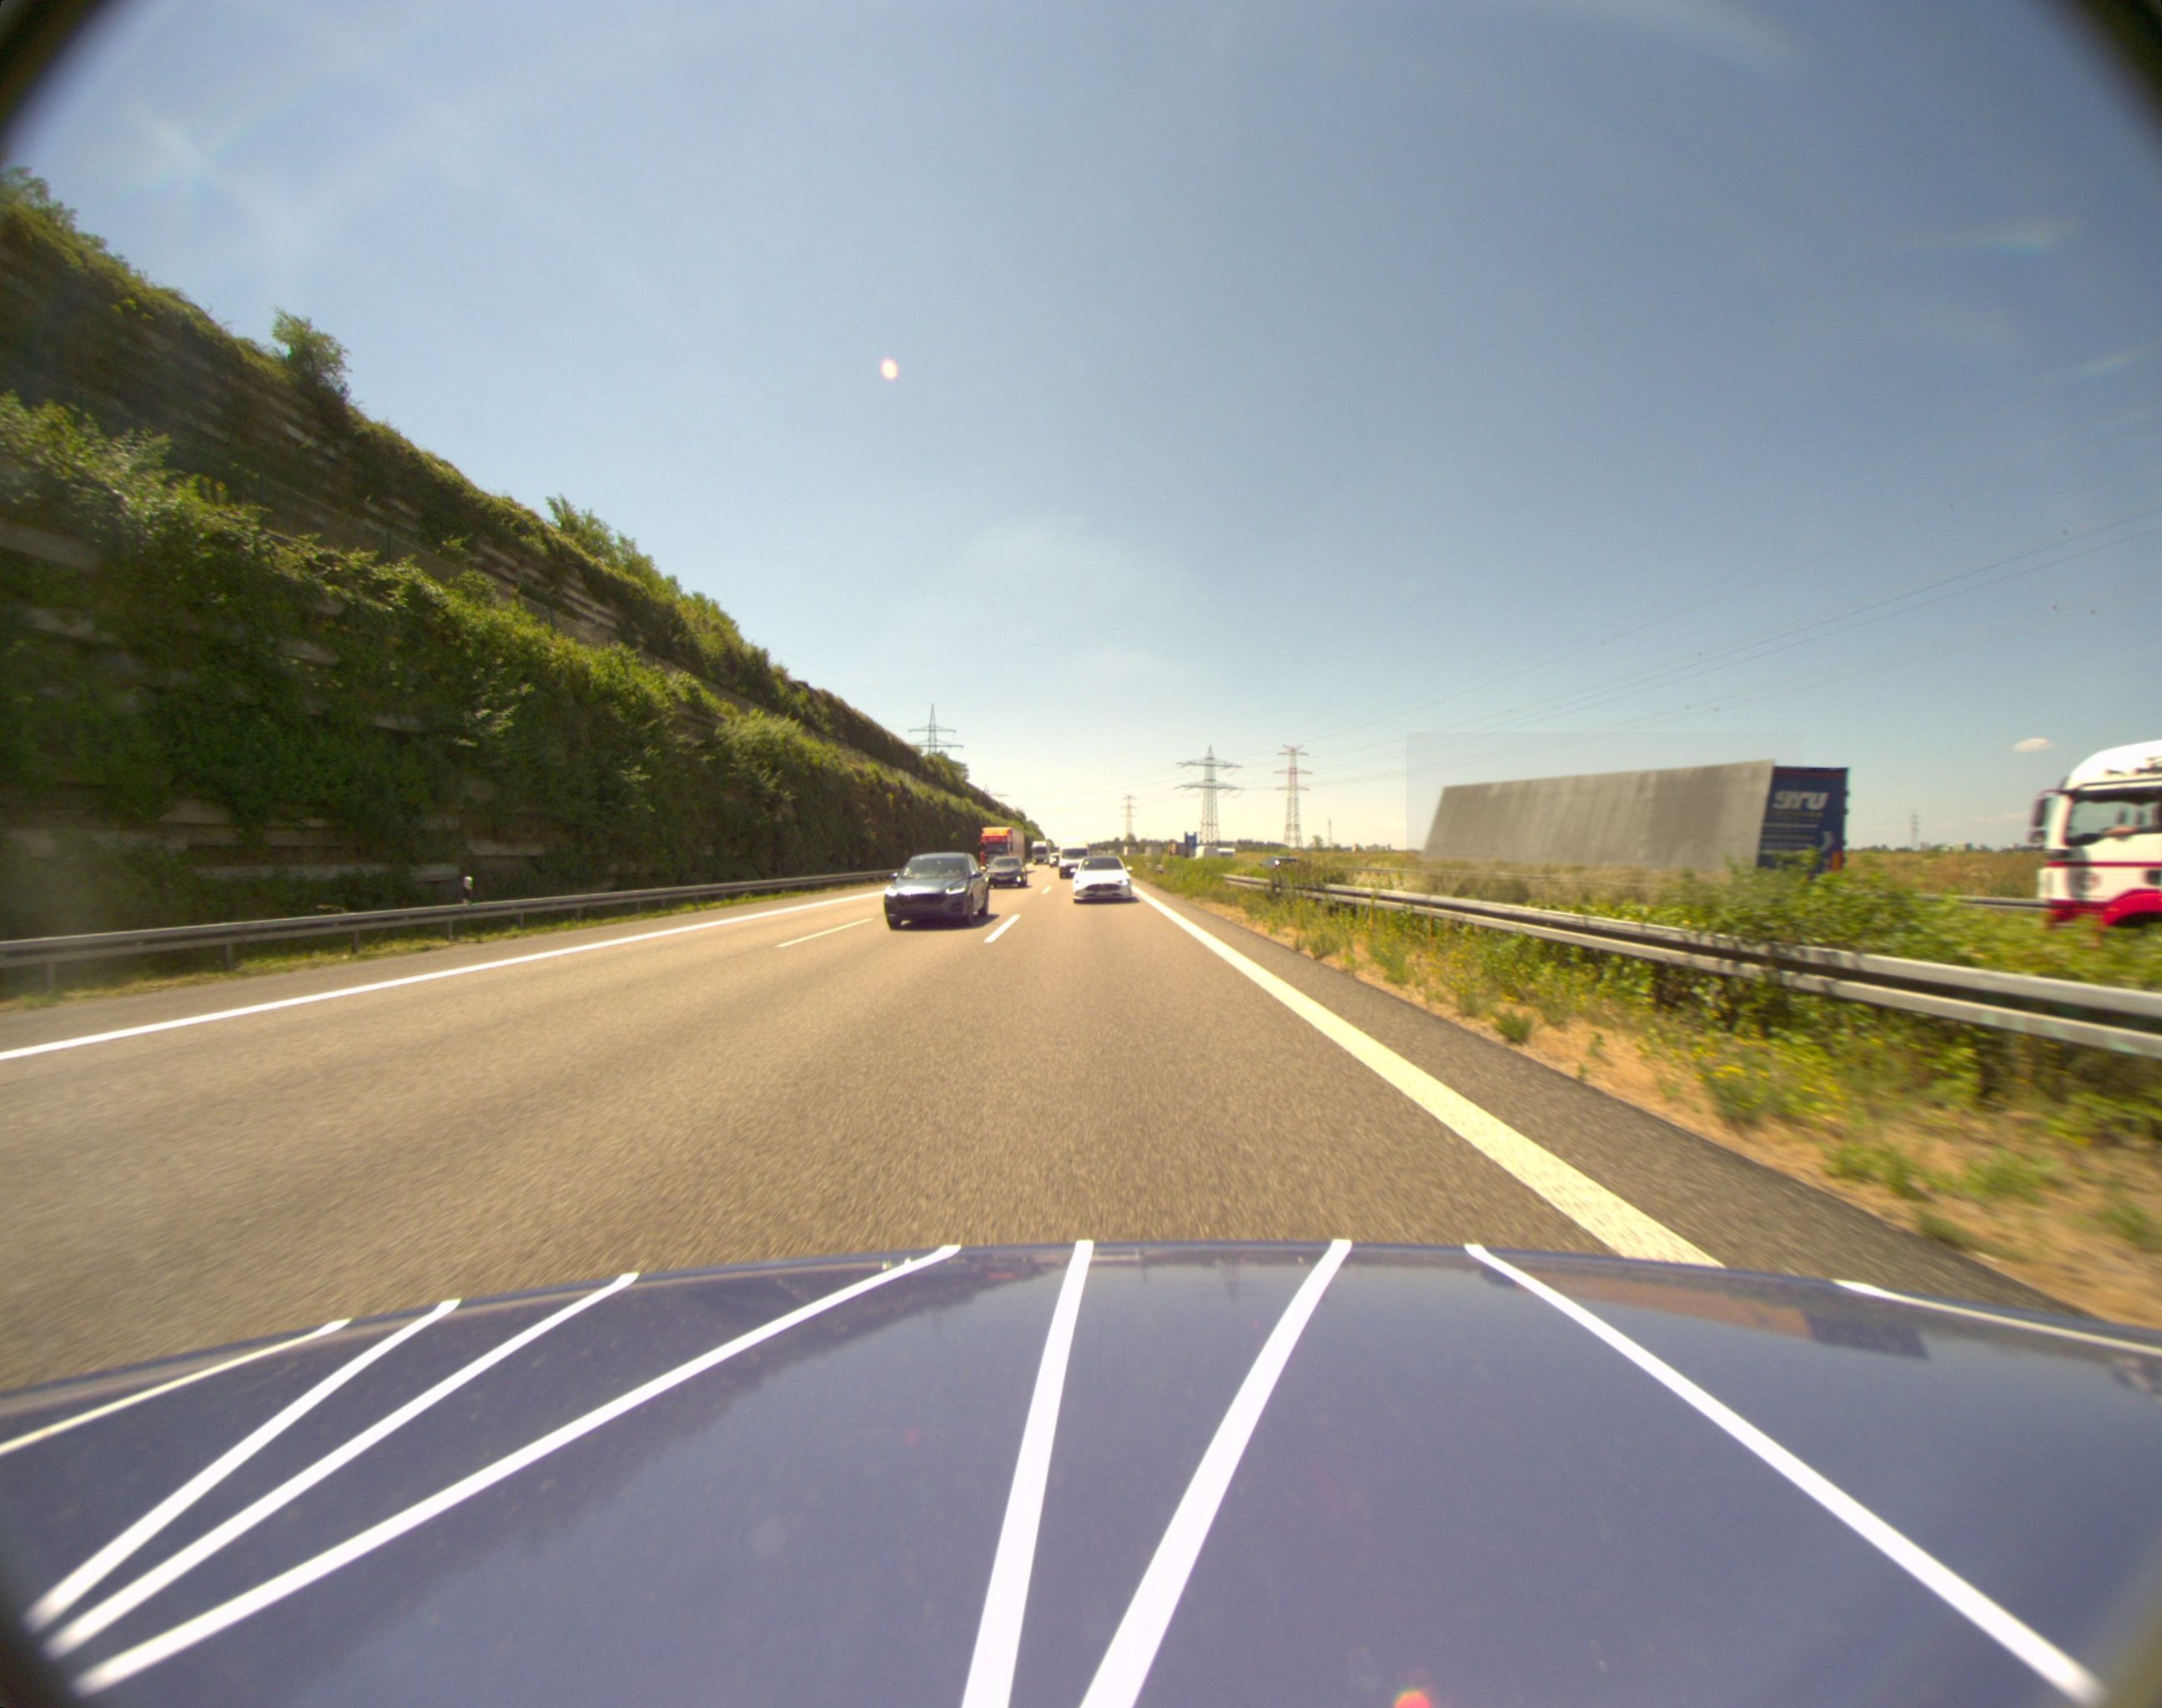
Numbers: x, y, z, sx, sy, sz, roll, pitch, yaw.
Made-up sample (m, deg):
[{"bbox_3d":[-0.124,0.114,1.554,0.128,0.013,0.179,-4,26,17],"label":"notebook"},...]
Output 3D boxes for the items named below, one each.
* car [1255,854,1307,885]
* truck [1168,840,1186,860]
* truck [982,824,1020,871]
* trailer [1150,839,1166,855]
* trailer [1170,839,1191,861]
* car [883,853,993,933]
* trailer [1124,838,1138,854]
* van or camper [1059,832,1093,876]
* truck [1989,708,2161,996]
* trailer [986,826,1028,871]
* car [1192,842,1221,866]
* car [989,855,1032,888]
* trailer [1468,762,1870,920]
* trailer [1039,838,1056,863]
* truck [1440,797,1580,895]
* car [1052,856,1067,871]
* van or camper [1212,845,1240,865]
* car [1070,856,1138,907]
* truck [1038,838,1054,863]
[{"bbox_3d":[10.154,0.758,38.753,1.670,1.487,4.000,0,0,1],"label":"car"},{"bbox_3d":[18.712,-0.803,148.595,2.732,3.706,5.645,0,0,0],"label":"truck"},{"bbox_3d":[-7.030,-0.542,67.357,2.624,3.969,6.526,-1,0,0],"label":"truck"},{"bbox_3d":[19.446,-1.637,192.150,2.776,3.807,14.240,-1,0,1],"label":"trailer"},{"bbox_3d":[18.705,-0.731,143.037,2.743,4.022,9.423,0,0,0],"label":"trailer"},{"bbox_3d":[-3.278,0.822,18.179,1.798,1.643,4.137,-1,0,0],"label":"car"},{"bbox_3d":[14.360,-2.272,219.377,2.776,4.324,14.238,-3,0,0],"label":"trailer"},{"bbox_3d":[-0.378,0.021,51.689,2.102,2.753,6.756,-1,0,-1],"label":"van or camper"},{"bbox_3d":[14.095,0.020,5.895,2.944,3.393,9.367,2,0,2],"label":"truck"},{"bbox_3d":[-7.053,-0.526,74.500,2.652,3.981,13.604,-1,0,0],"label":"trailer"},{"bbox_3d":[14.462,0.025,87.799,2.110,2.615,7.467,1,0,1],"label":"car"},{"bbox_3d":[-3.448,0.822,37.827,1.754,1.516,3.995,-1,0,0],"label":"car"},{"bbox_3d":[18.296,-0.358,26.075,2.857,3.954,14.142,0,0,0],"label":"trailer"},{"bbox_3d":[-6.159,-0.620,140.520,2.521,4.187,17.025,-1,0,-1],"label":"trailer"},{"bbox_3d":[18.342,-0.328,32.939,2.870,3.885,5.620,0,0,0],"label":"truck"},{"bbox_3d":[-2.723,1.221,96.295,1.784,1.783,3.999,-1,0,-1],"label":"car"},{"bbox_3d":[19.156,0.108,100.902,2.449,2.503,6.483,0,0,0],"label":"van or camper"},{"bbox_3d":[0.674,0.833,24.900,1.999,1.474,4.108,-1,0,-1],"label":"car"},{"bbox_3d":[-6.070,-0.588,131.854,2.514,4.195,6.255,-1,1,0],"label":"truck"}]
